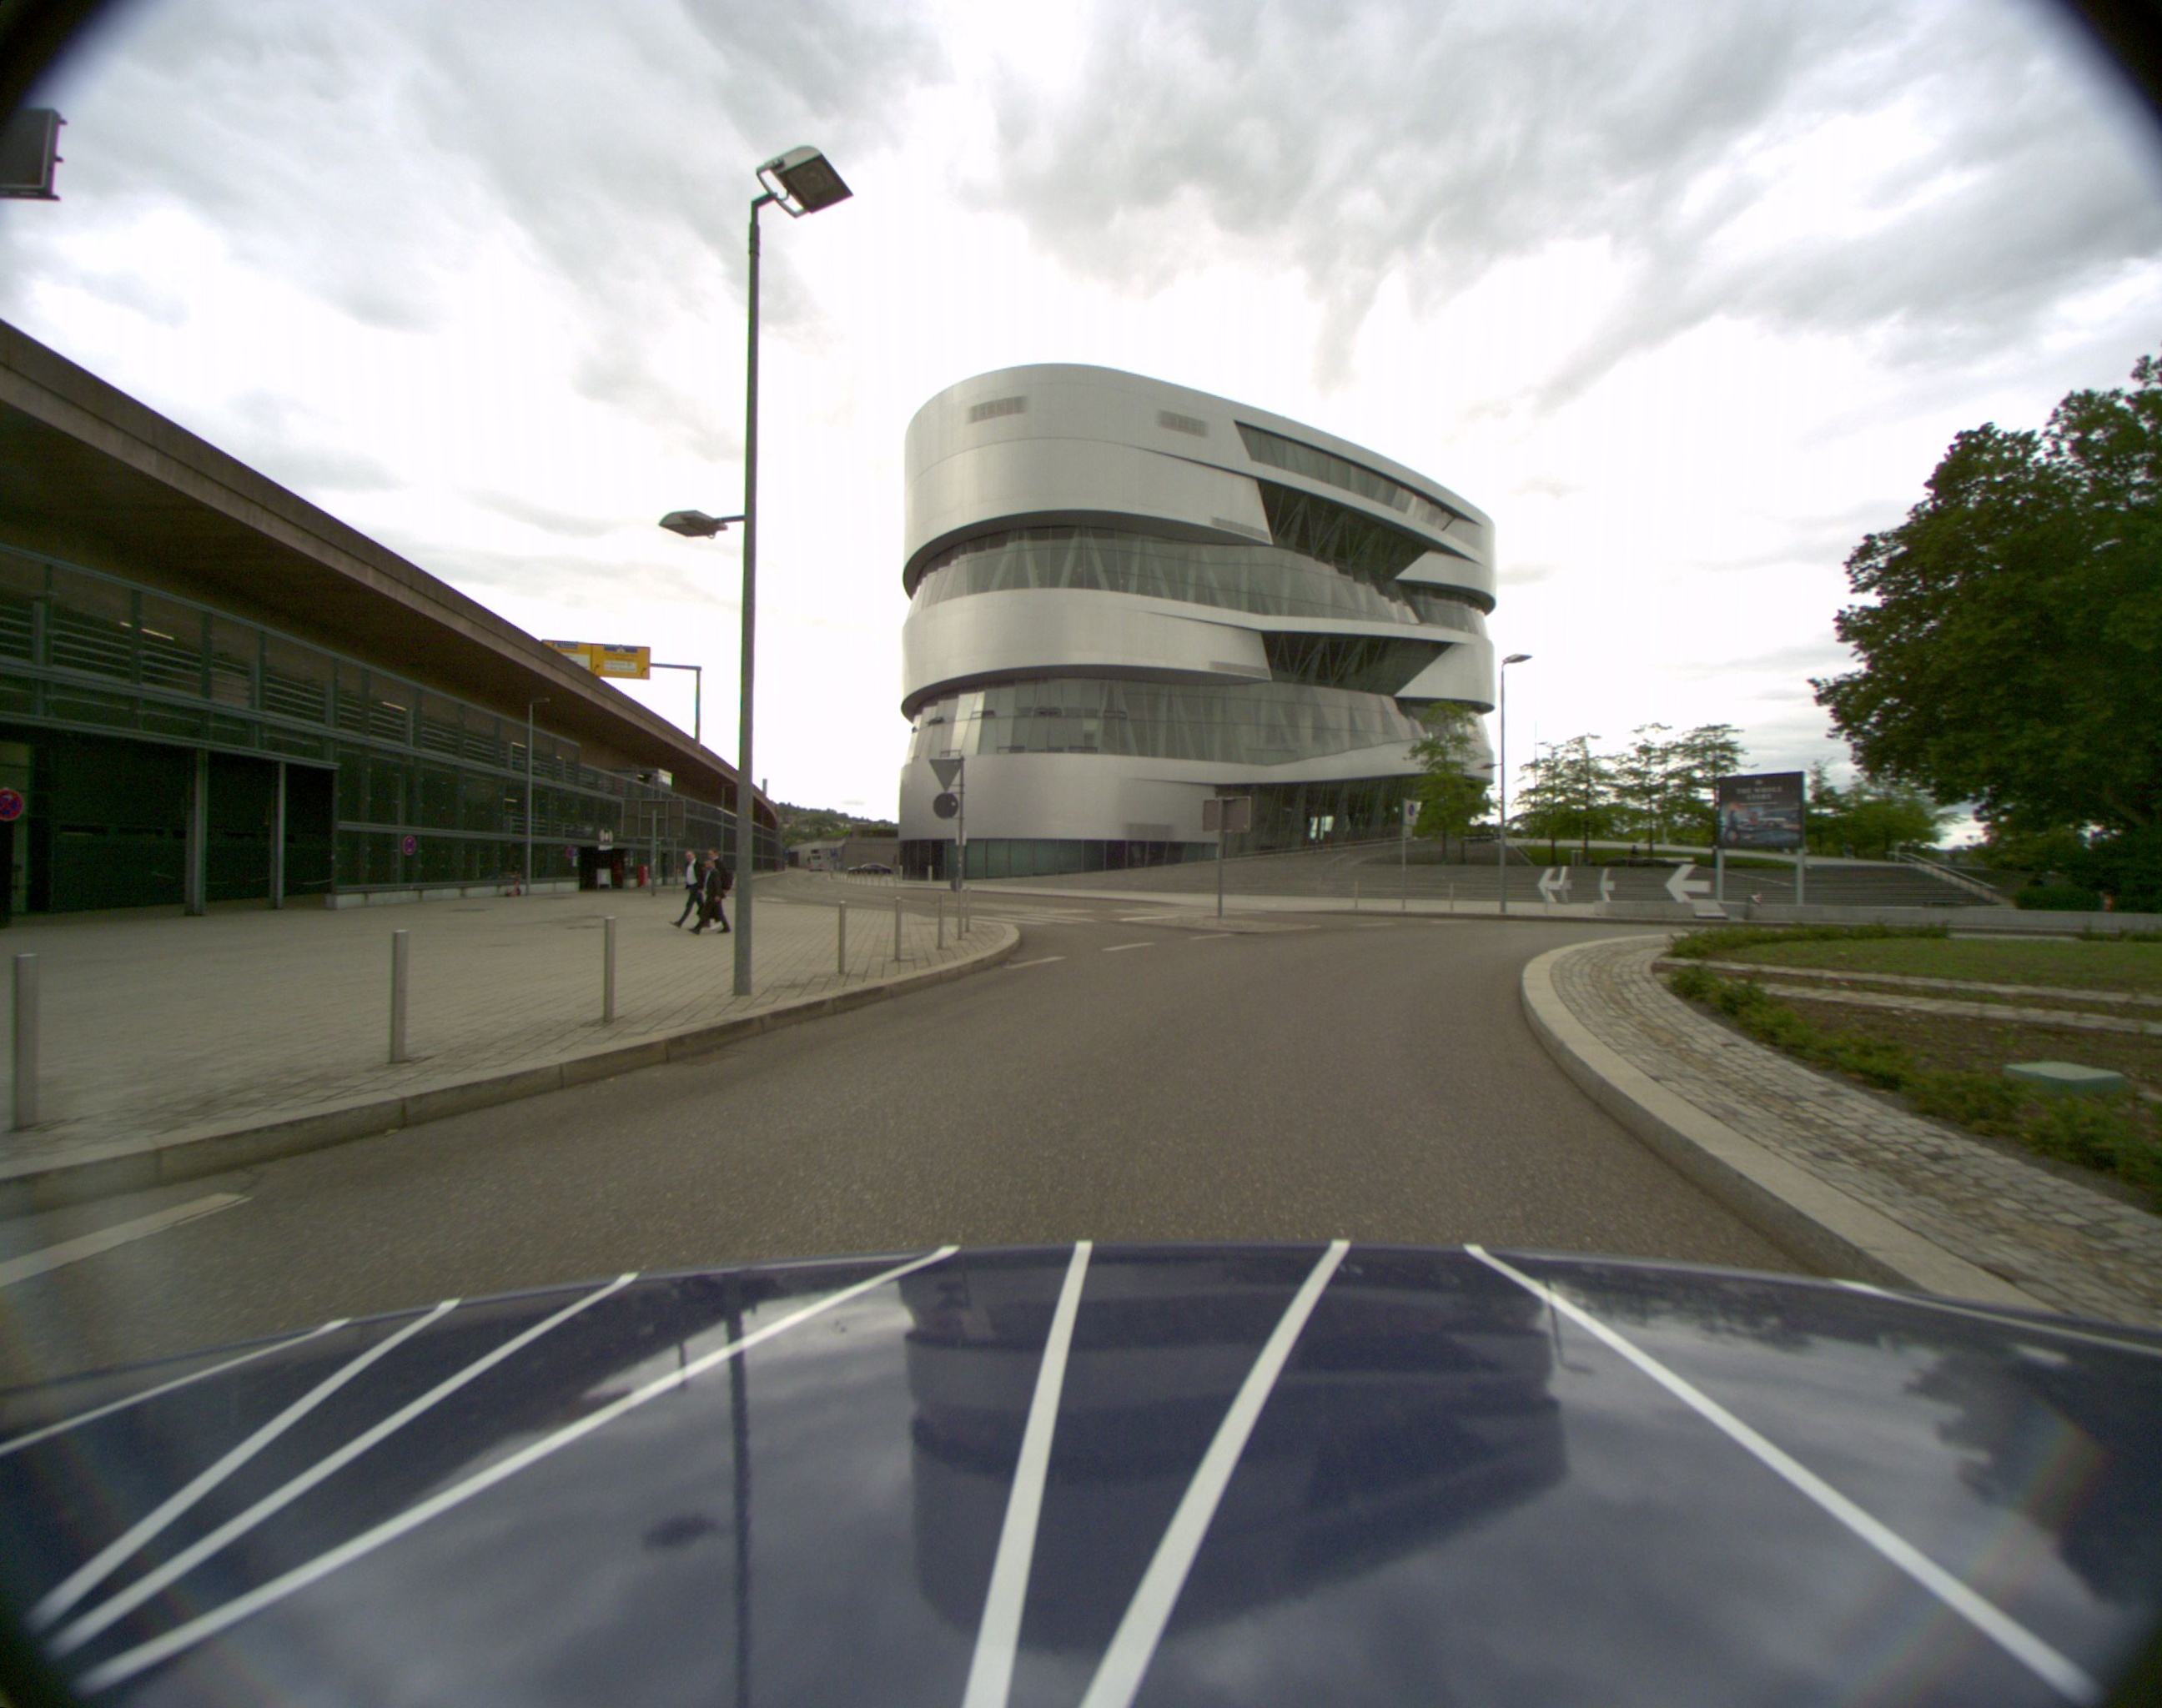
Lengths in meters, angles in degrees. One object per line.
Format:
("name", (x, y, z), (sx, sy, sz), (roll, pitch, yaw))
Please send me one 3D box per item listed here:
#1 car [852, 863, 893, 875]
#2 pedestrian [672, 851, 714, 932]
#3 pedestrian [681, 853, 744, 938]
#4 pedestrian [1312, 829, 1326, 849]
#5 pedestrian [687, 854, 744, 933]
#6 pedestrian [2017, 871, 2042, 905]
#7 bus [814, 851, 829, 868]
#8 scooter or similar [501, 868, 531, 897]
("car", (-26.217, 1.869, 95.555), (4.911, 1.389, 1.533), (1, -1, -16))
("pedestrian", (-8.889, 0.849, 17.441), (0.784, 1.787, 0.864), (2, -1, -24))
("pedestrian", (-7.648, 0.849, 15.783), (0.863, 1.694, 0.774), (0, -1, 24))
("pedestrian", (23.490, -1.496, 74.907), (0.953, 1.913, 0.851), (-3, 1, -26))
("pedestrian", (-8.071, 0.858, 16.809), (0.785, 1.694, 0.774), (0, -1, 27))
("pedestrian", (49.802, 1.764, 39.905), (0.594, 1.751, 0.556), (1, -1, 15))
("bus", (-55.518, 1.188, 162.347), (2.935, 3.420, 6.957), (1, -2, -19))
("scooter or similar", (-22.505, 1.126, 30.268), (0.381, 1.116, 1.426), (1, -1, -13))
